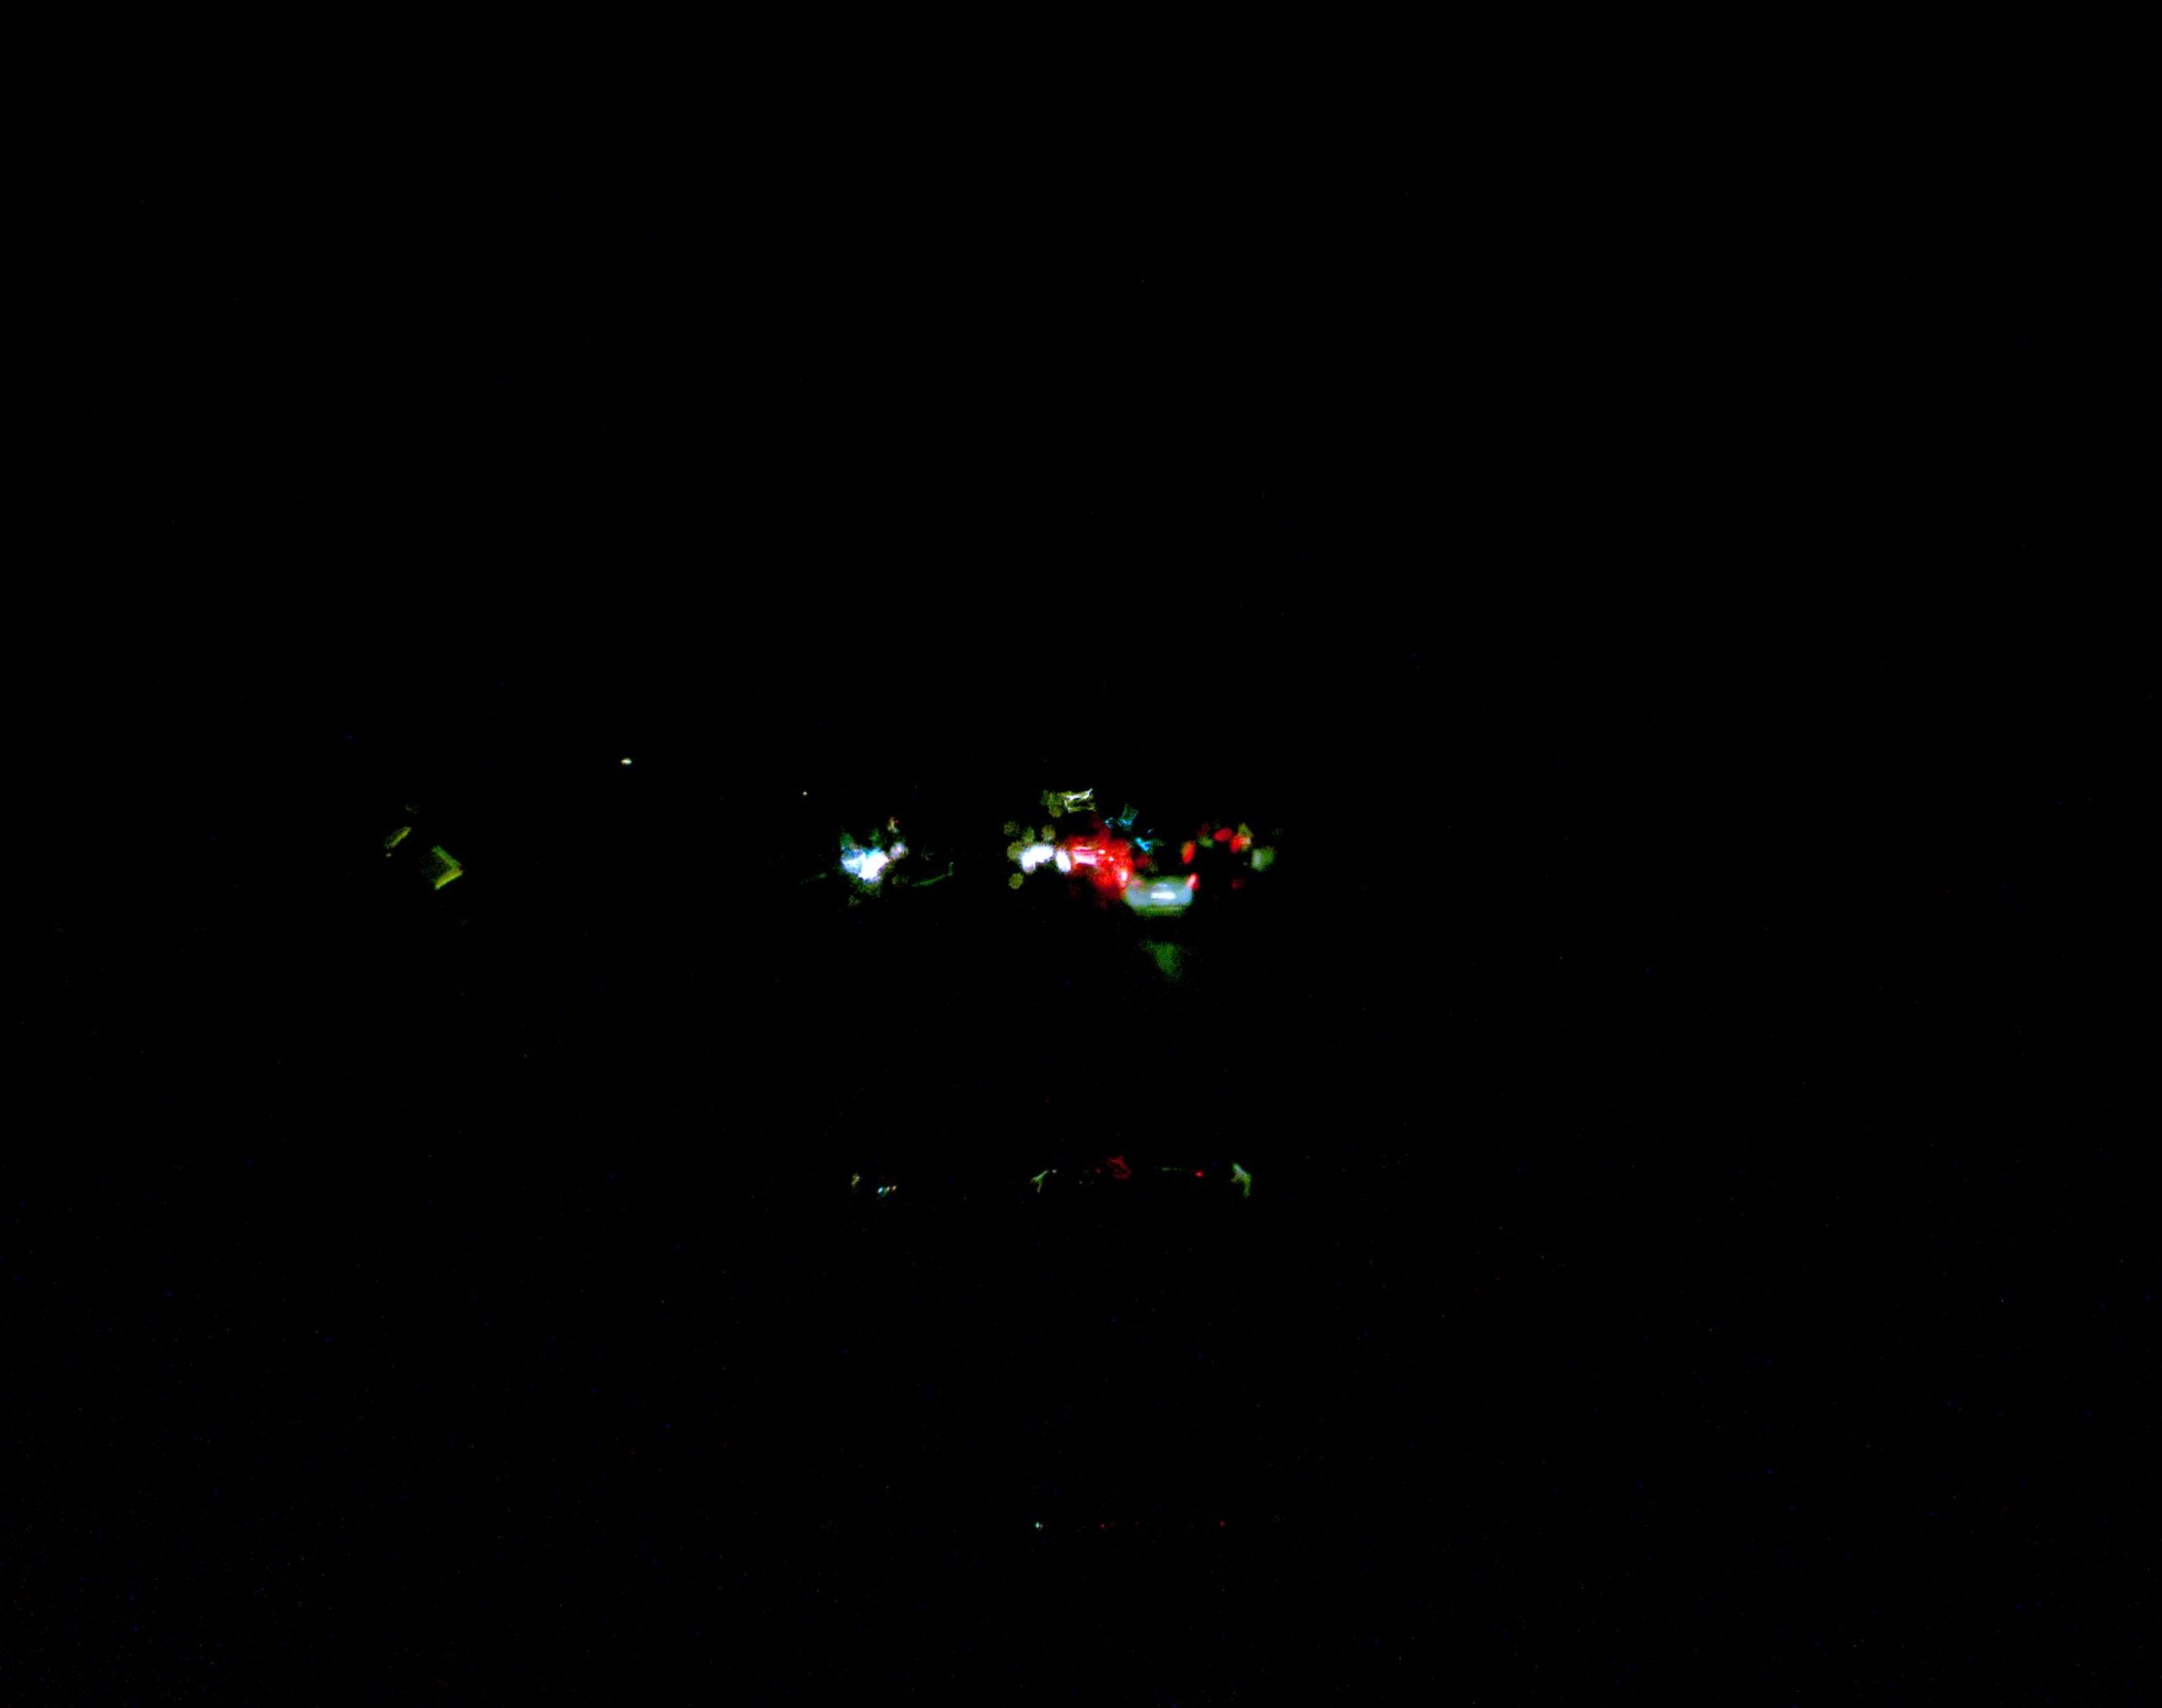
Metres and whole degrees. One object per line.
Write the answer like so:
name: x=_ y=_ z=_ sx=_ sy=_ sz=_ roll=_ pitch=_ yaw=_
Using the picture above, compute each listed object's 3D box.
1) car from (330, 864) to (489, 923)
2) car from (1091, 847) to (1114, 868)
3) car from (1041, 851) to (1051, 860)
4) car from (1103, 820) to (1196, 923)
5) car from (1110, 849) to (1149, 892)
car: x=-22.210 y=1.235 z=27.187 sx=1.781 sy=1.694 sz=4.217 roll=-1 pitch=0 yaw=-1
car: x=1.933 y=0.285 z=74.839 sx=1.779 sy=1.782 sz=4.433 roll=-3 pitch=0 yaw=-1
car: x=-6.512 y=0.333 z=152.042 sx=1.797 sy=1.588 sz=4.028 roll=-2 pitch=0 yaw=-2
car: x=1.603 y=0.343 z=19.037 sx=1.783 sy=2.021 sz=4.586 roll=-3 pitch=0 yaw=5
car: x=2.593 y=0.797 z=42.652 sx=1.783 sy=2.021 sz=4.586 roll=-3 pitch=0 yaw=5
